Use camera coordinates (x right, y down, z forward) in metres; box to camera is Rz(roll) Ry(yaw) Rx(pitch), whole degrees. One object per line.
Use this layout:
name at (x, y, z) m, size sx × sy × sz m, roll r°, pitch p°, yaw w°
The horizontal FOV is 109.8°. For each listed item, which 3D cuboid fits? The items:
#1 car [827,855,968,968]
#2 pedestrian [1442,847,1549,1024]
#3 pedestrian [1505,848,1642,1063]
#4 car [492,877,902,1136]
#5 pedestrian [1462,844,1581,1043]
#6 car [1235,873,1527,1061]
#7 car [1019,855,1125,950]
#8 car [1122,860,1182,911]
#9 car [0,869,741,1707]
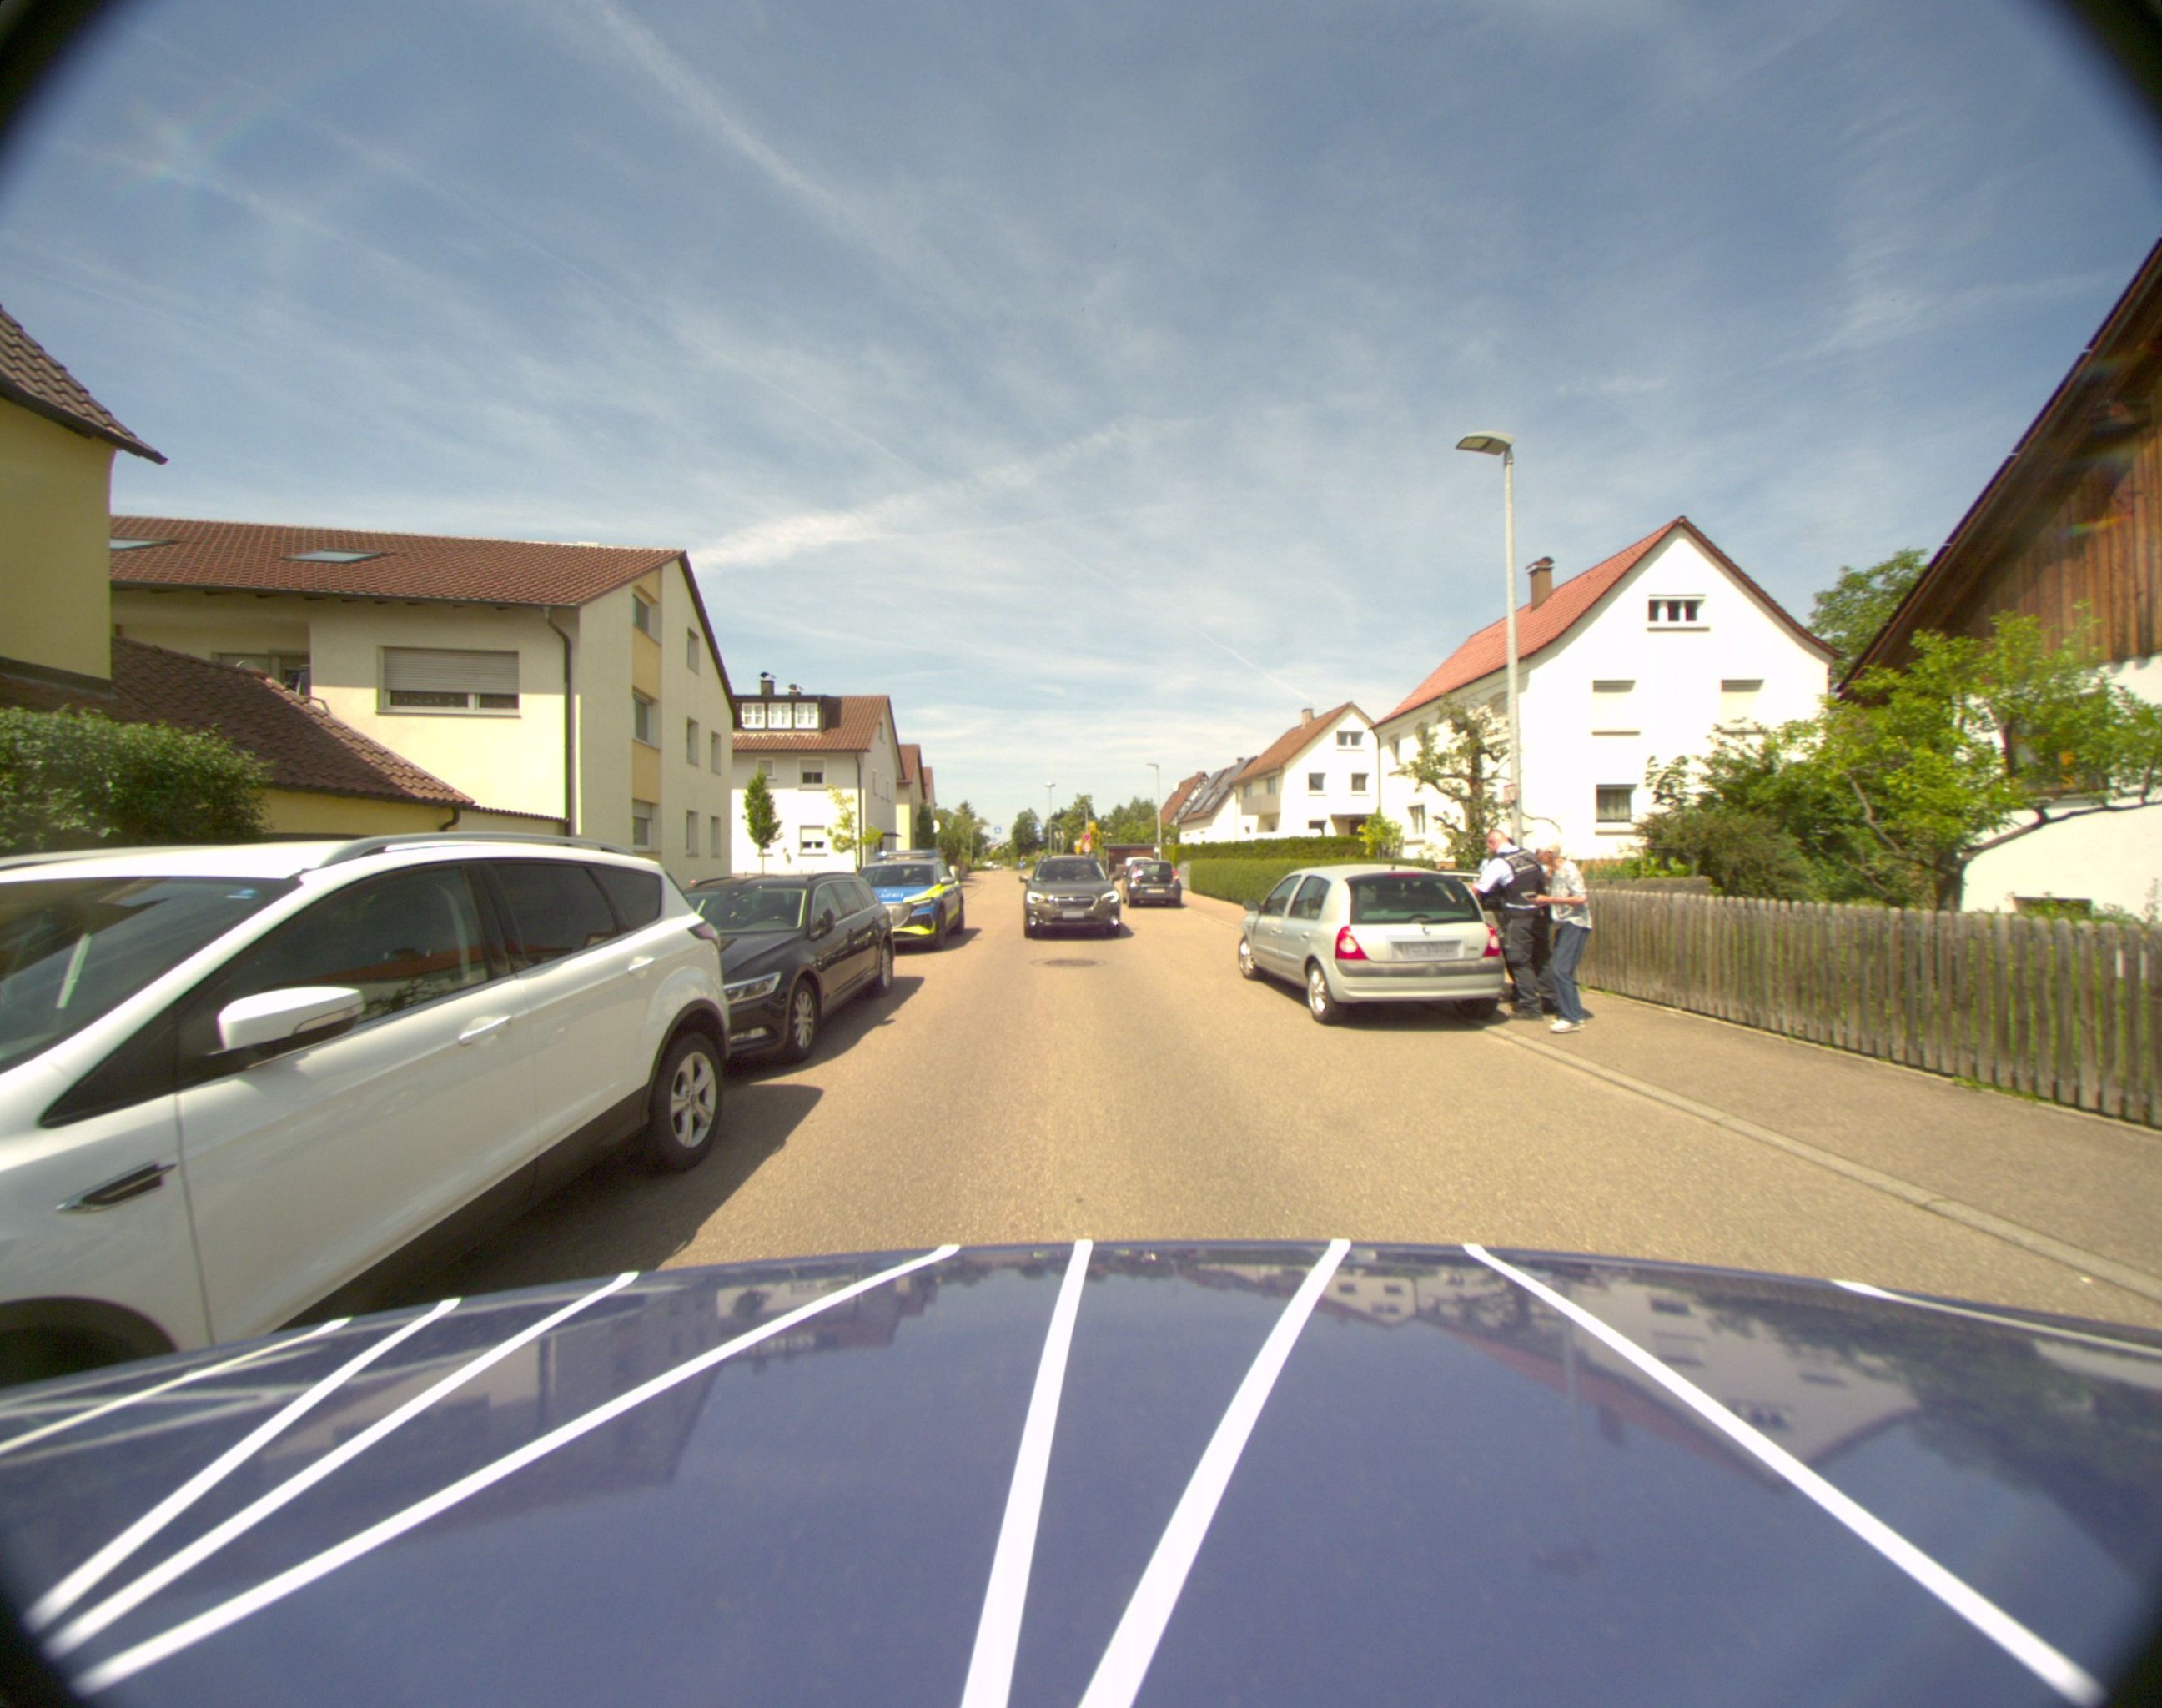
car at (-3.243, 0.917, 14.199) m, size 1.670 × 1.739 × 4.055 m, roll -2°, pitch 0°, yaw -2°
pedestrian at (4.041, 0.770, 7.447) m, size 0.640 × 1.633 × 0.590 m, roll -3°, pitch 1°, yaw -1°
pedestrian at (3.979, 0.785, 6.178) m, size 0.640 × 1.633 × 0.599 m, roll -3°, pitch 1°, yaw -1°
car at (-2.985, 1.050, 7.083) m, size 1.628 × 1.460 × 4.371 m, roll -2°, pitch 0°, yaw -2°
pedestrian at (3.928, 0.768, 6.809) m, size 0.640 × 1.672 × 0.590 m, roll -3°, pitch 1°, yaw -1°
car at (2.800, 0.961, 7.852) m, size 1.586 × 1.434 × 3.264 m, roll 0°, pitch 0°, yaw -3°
car at (-0.246, 0.855, 15.631) m, size 1.838 × 1.637 × 4.322 m, roll -2°, pitch 0°, yaw -2°
car at (2.204, 0.938, 24.302) m, size 1.602 × 1.450 × 3.660 m, roll -1°, pitch 0°, yaw 1°
car at (-2.829, 0.950, 2.224) m, size 1.740 × 1.652 × 4.336 m, roll -2°, pitch 0°, yaw -2°
